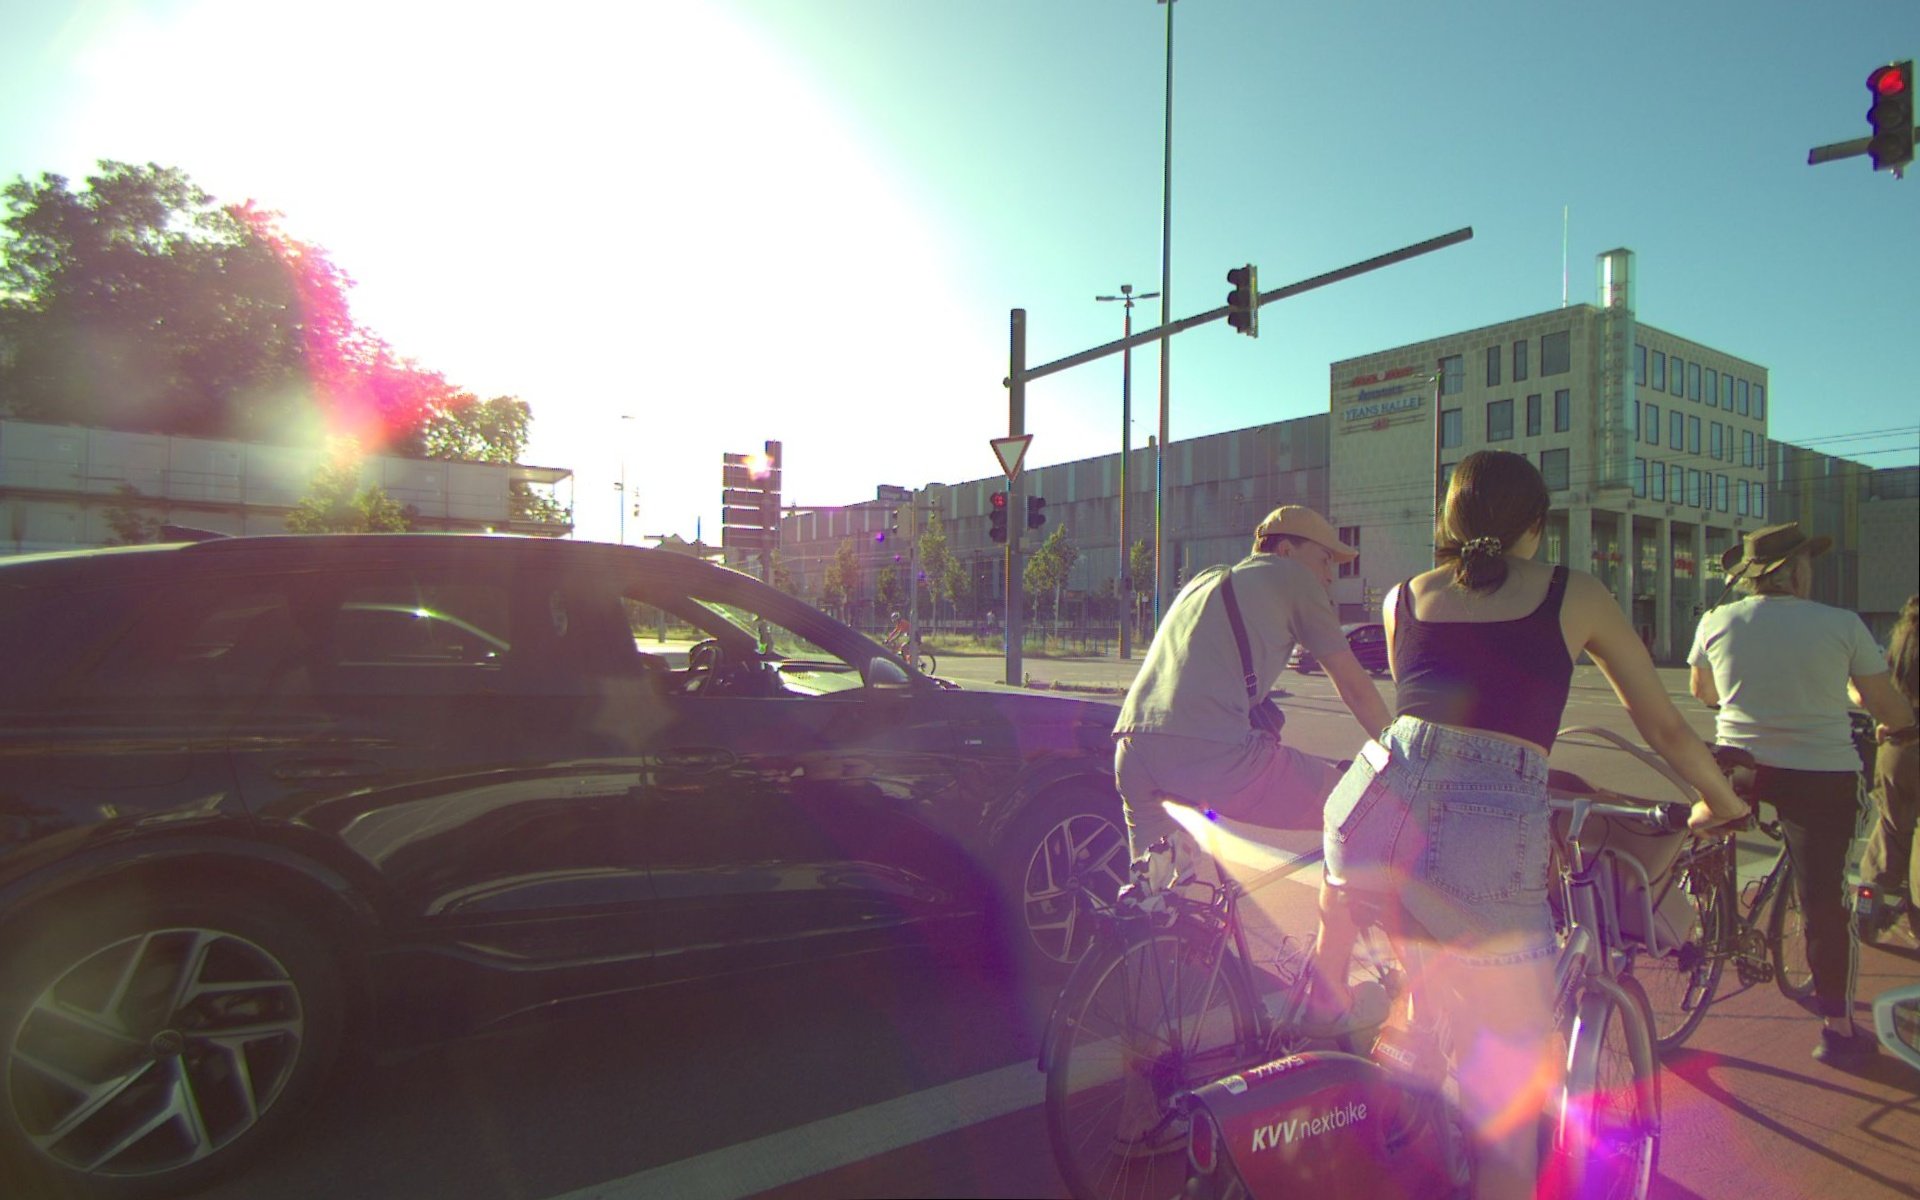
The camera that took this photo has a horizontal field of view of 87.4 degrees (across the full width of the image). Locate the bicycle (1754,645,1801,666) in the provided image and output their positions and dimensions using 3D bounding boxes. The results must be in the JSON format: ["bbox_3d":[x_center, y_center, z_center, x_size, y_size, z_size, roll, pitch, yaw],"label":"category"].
[{"bbox_3d":[52.883,3.589,65.022,0.605,1.238,2.295,1,-1,-31],"label":"bicycle"}]

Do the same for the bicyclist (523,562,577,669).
[{"bbox_3d":[-12.296,0.461,30.138,1.292,3.144,0.835,2,0,-32],"label":"bicyclist"}]

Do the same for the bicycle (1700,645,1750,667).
[{"bbox_3d":[45.744,3.341,60.086,0.605,1.238,2.295,1,-1,-31],"label":"bicycle"}]

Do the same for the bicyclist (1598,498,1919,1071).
[{"bbox_3d":[2.856,0.569,3.554,0.856,1.743,0.657,2,0,-30],"label":"bicyclist"}]

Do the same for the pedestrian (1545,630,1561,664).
[{"bbox_3d":[34.318,2.703,58.094,0.705,1.910,0.785,2,0,33],"label":"pedestrian"}]

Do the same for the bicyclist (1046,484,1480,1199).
[{"bbox_3d":[0.790,0.570,2.675,0.833,1.627,0.712,1,0,-32],"label":"bicyclist"}]

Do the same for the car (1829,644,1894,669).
[{"bbox_3d":[49.765,3.118,55.413,3.956,1.359,1.621,2,-4,-32],"label":"car"}]

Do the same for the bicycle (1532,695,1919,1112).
[{"bbox_3d":[2.866,0.974,3.681,1.810,1.171,0.482,2,0,-31],"label":"bicycle"}]

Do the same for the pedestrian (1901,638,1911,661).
[{"bbox_3d":[71.078,3.745,75.460,0.579,1.702,0.516,1,1,-43],"label":"pedestrian"}]

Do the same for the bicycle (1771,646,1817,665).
[{"bbox_3d":[55.500,3.680,66.834,0.605,1.238,2.295,1,-1,-31],"label":"bicycle"}]

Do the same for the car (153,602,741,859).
[{"bbox_3d":[-3.599,0.797,7.496,3.562,1.505,1.485,1,0,-30],"label":"car"}]

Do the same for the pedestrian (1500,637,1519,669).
[{"bbox_3d":[33.205,3.208,60.692,0.780,1.910,0.709,2,0,-37],"label":"pedestrian"}]

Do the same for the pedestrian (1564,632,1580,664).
[{"bbox_3d":[35.612,2.774,58.427,0.784,1.868,0.862,0,-1,32],"label":"pedestrian"}]

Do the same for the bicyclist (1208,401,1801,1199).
[{"bbox_3d":[1.031,0.523,1.926,0.866,1.600,0.638,1,0,-33],"label":"bicyclist"}]

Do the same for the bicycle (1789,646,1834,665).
[{"bbox_3d":[58.833,3.797,69.432,0.605,1.238,2.295,1,-1,-31],"label":"bicycle"}]

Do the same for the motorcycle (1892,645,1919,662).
[{"bbox_3d":[70.719,3.980,74.860,0.508,1.223,1.786,1,0,-44],"label":"motorcycle"}]

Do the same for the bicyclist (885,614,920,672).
[{"bbox_3d":[-1.467,1.090,25.544,0.705,1.456,0.493,2,0,-30],"label":"bicyclist"}]

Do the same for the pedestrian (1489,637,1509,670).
[{"bbox_3d":[32.144,3.171,59.870,0.710,1.910,0.779,2,0,-36],"label":"pedestrian"}]

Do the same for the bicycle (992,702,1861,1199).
[{"bbox_3d":[0.976,0.873,1.902,1.811,1.234,0.612,1,0,-33],"label":"bicycle"}]

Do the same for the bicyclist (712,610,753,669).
[{"bbox_3d":[-8.196,1.407,36.197,1.078,2.040,0.961,2,0,15],"label":"bicyclist"}]

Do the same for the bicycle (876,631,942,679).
[{"bbox_3d":[-1.295,1.399,25.655,1.631,1.170,0.493,2,0,-30],"label":"bicycle"}]

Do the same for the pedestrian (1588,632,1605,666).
[{"bbox_3d":[35.855,2.738,56.586,0.784,1.868,0.863,0,-1,28],"label":"pedestrian"}]

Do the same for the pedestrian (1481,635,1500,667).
[{"bbox_3d":[32.472,3.117,61.454,0.710,1.910,0.779,2,0,-36],"label":"pedestrian"}]

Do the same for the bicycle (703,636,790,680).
[{"bbox_3d":[-7.667,2.059,36.052,2.905,1.388,0.970,2,0,16],"label":"bicycle"}]

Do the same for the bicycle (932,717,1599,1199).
[{"bbox_3d":[0.927,0.964,2.771,1.949,1.124,0.643,1,0,-33],"label":"bicycle"}]

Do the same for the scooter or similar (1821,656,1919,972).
[{"bbox_3d":[4.479,0.940,4.715,1.186,1.311,0.541,2,0,-45],"label":"scooter or similar"}]

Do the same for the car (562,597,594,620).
[{"bbox_3d":[-32.955,0.716,86.511,1.785,1.908,3.964,2,0,-33],"label":"car"}]

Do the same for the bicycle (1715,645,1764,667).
[{"bbox_3d":[46.945,3.381,60.531,0.605,1.238,2.295,1,-1,-31],"label":"bicycle"}]

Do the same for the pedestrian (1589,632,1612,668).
[{"bbox_3d":[36.929,2.874,57.885,0.767,2.040,0.876,2,0,-41],"label":"pedestrian"}]

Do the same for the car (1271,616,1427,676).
[{"bbox_3d":[10.957,1.299,28.357,3.831,1.606,1.655,1,-1,-13],"label":"car"}]

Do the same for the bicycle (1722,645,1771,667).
[{"bbox_3d":[48.028,3.419,61.342,0.605,1.238,2.295,1,-1,-31],"label":"bicycle"}]

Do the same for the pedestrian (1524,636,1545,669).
[{"bbox_3d":[33.379,3.049,58.379,0.710,1.910,0.779,2,0,-36],"label":"pedestrian"}]

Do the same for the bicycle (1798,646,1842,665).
[{"bbox_3d":[59.804,3.830,69.857,0.605,1.238,2.295,1,-1,-31],"label":"bicycle"}]

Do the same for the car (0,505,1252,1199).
[{"bbox_3d":[-1.167,0.642,3.871,4.630,1.656,1.760,1,0,-32],"label":"car"}]

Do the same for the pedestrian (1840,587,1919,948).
[{"bbox_3d":[4.620,0.776,4.807,0.568,1.654,0.543,2,0,-45],"label":"pedestrian"}]

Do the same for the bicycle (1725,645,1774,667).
[{"bbox_3d":[48.678,3.443,61.963,0.605,1.238,2.295,1,-1,-31],"label":"bicycle"}]

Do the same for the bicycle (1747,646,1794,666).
[{"bbox_3d":[51.258,3.531,63.555,0.605,1.238,2.295,1,-1,-31],"label":"bicycle"}]

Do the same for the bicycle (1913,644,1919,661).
[{"bbox_3d":[70.184,3.818,72.570,1.777,1.223,0.511,1,0,28],"label":"bicycle"}]

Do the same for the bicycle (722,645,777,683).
[{"bbox_3d":[-9.008,2.712,42.882,0.962,1.388,2.930,2,0,-40],"label":"bicycle"}]

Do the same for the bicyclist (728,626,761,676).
[{"bbox_3d":[-9.267,2.178,43.183,0.985,2.040,1.088,2,0,-40],"label":"bicyclist"}]

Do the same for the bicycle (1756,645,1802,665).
[{"bbox_3d":[54.262,3.640,66.570,0.605,1.238,2.295,1,-1,-31],"label":"bicycle"}]

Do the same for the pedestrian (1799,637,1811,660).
[{"bbox_3d":[63.979,3.676,76.043,0.602,1.702,0.549,1,0,-40],"label":"pedestrian"}]

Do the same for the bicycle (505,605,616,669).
[{"bbox_3d":[-12.040,1.075,30.333,3.047,1.835,0.835,0,1,-32],"label":"bicycle"}]

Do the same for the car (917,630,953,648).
[{"bbox_3d":[-2.487,3.823,99.439,1.643,1.606,3.871,2,0,-36],"label":"car"}]

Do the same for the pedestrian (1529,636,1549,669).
[{"bbox_3d":[34.388,3.088,59.692,0.710,1.910,0.779,2,0,-36],"label":"pedestrian"}]
